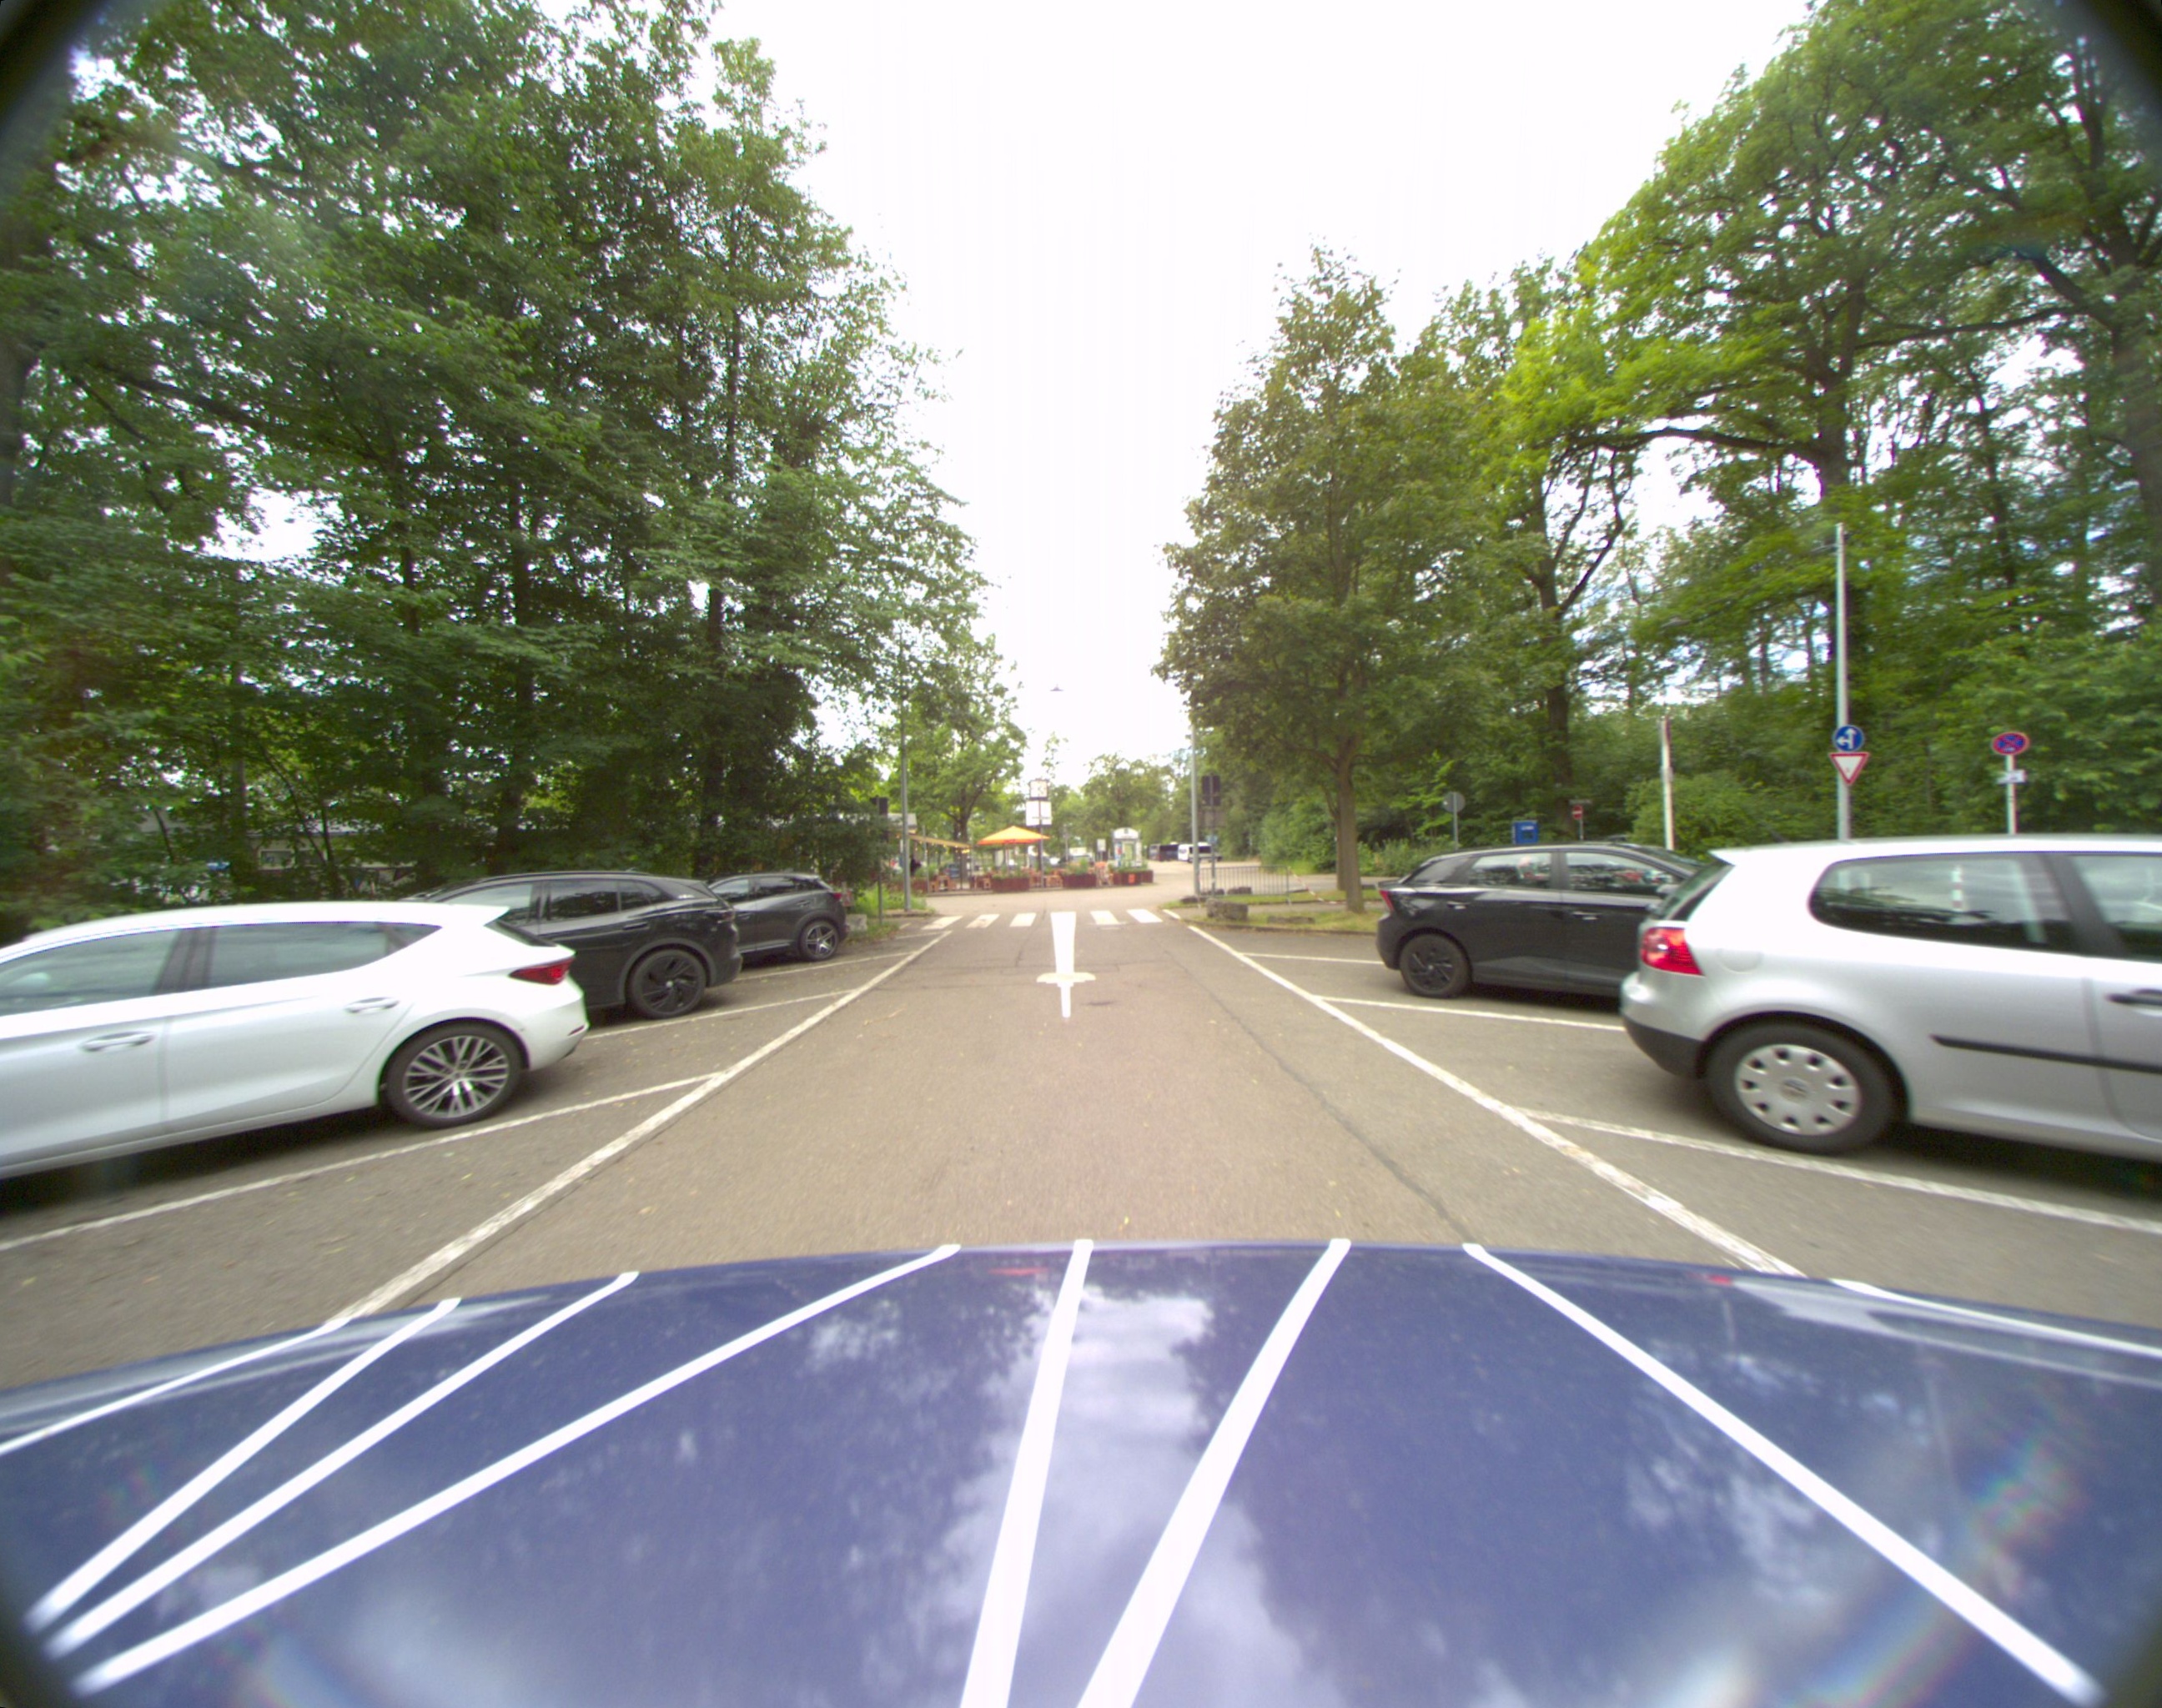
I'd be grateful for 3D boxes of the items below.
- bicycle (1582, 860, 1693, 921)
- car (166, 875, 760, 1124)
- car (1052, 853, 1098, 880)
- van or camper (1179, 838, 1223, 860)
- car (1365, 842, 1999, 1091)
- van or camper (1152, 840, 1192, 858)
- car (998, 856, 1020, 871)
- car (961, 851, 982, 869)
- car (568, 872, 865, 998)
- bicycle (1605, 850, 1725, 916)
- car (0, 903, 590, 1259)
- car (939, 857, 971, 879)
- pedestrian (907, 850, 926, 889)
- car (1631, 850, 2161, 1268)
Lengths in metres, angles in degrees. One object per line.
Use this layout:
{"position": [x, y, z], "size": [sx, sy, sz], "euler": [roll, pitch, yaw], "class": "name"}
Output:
{"position": [10.790, 0.710, 14.773], "size": [1.695, 1.105, 0.483], "euler": [-2, 1, 7], "class": "bicycle"}
{"position": [-5.781, 1.109, 7.636], "size": [1.952, 1.571, 4.211], "euler": [-2, 0, 43], "class": "car"}
{"position": [-0.441, 0.825, 51.104], "size": [1.937, 1.660, 4.339], "euler": [-2, 0, -16], "class": "car"}
{"position": [17.487, -0.749, 110.428], "size": [7.354, 2.833, 2.063], "euler": [-3, 1, -40], "class": "van or camper"}
{"position": [4.970, 0.742, 6.848], "size": [1.834, 1.514, 4.089], "euler": [-3, 1, -43], "class": "car"}
{"position": [16.136, -0.866, 134.437], "size": [7.353, 2.833, 2.198], "euler": [-3, 1, -36], "class": "van or camper"}
{"position": [-9.176, 1.206, 96.033], "size": [1.879, 1.769, 4.289], "euler": [-2, 0, -17], "class": "car"}
{"position": [-13.587, 0.767, 93.996], "size": [1.879, 2.027, 4.583], "euler": [-2, 0, -17], "class": "car"}
{"position": [-5.580, 1.122, 11.953], "size": [1.695, 1.483, 3.799], "euler": [-2, 1, 44], "class": "car"}
{"position": [10.462, 0.514, 13.648], "size": [1.683, 1.105, 0.506], "euler": [-2, 1, 5], "class": "bicycle"}
{"position": [-5.462, 1.174, 4.366], "size": [4.127, 1.430, 1.865], "euler": [-3, 0, -42], "class": "car"}
{"position": [-9.517, 1.051, 57.114], "size": [2.001, 1.543, 3.995], "euler": [-2, 0, -14], "class": "car"}
{"position": [-7.927, 0.753, 36.654], "size": [0.750, 1.820, 0.709], "euler": [-2, 1, -9], "class": "pedestrian"}
{"position": [4.904, 0.748, 3.199], "size": [3.989, 1.475, 1.880], "euler": [-2, 1, 42], "class": "car"}
